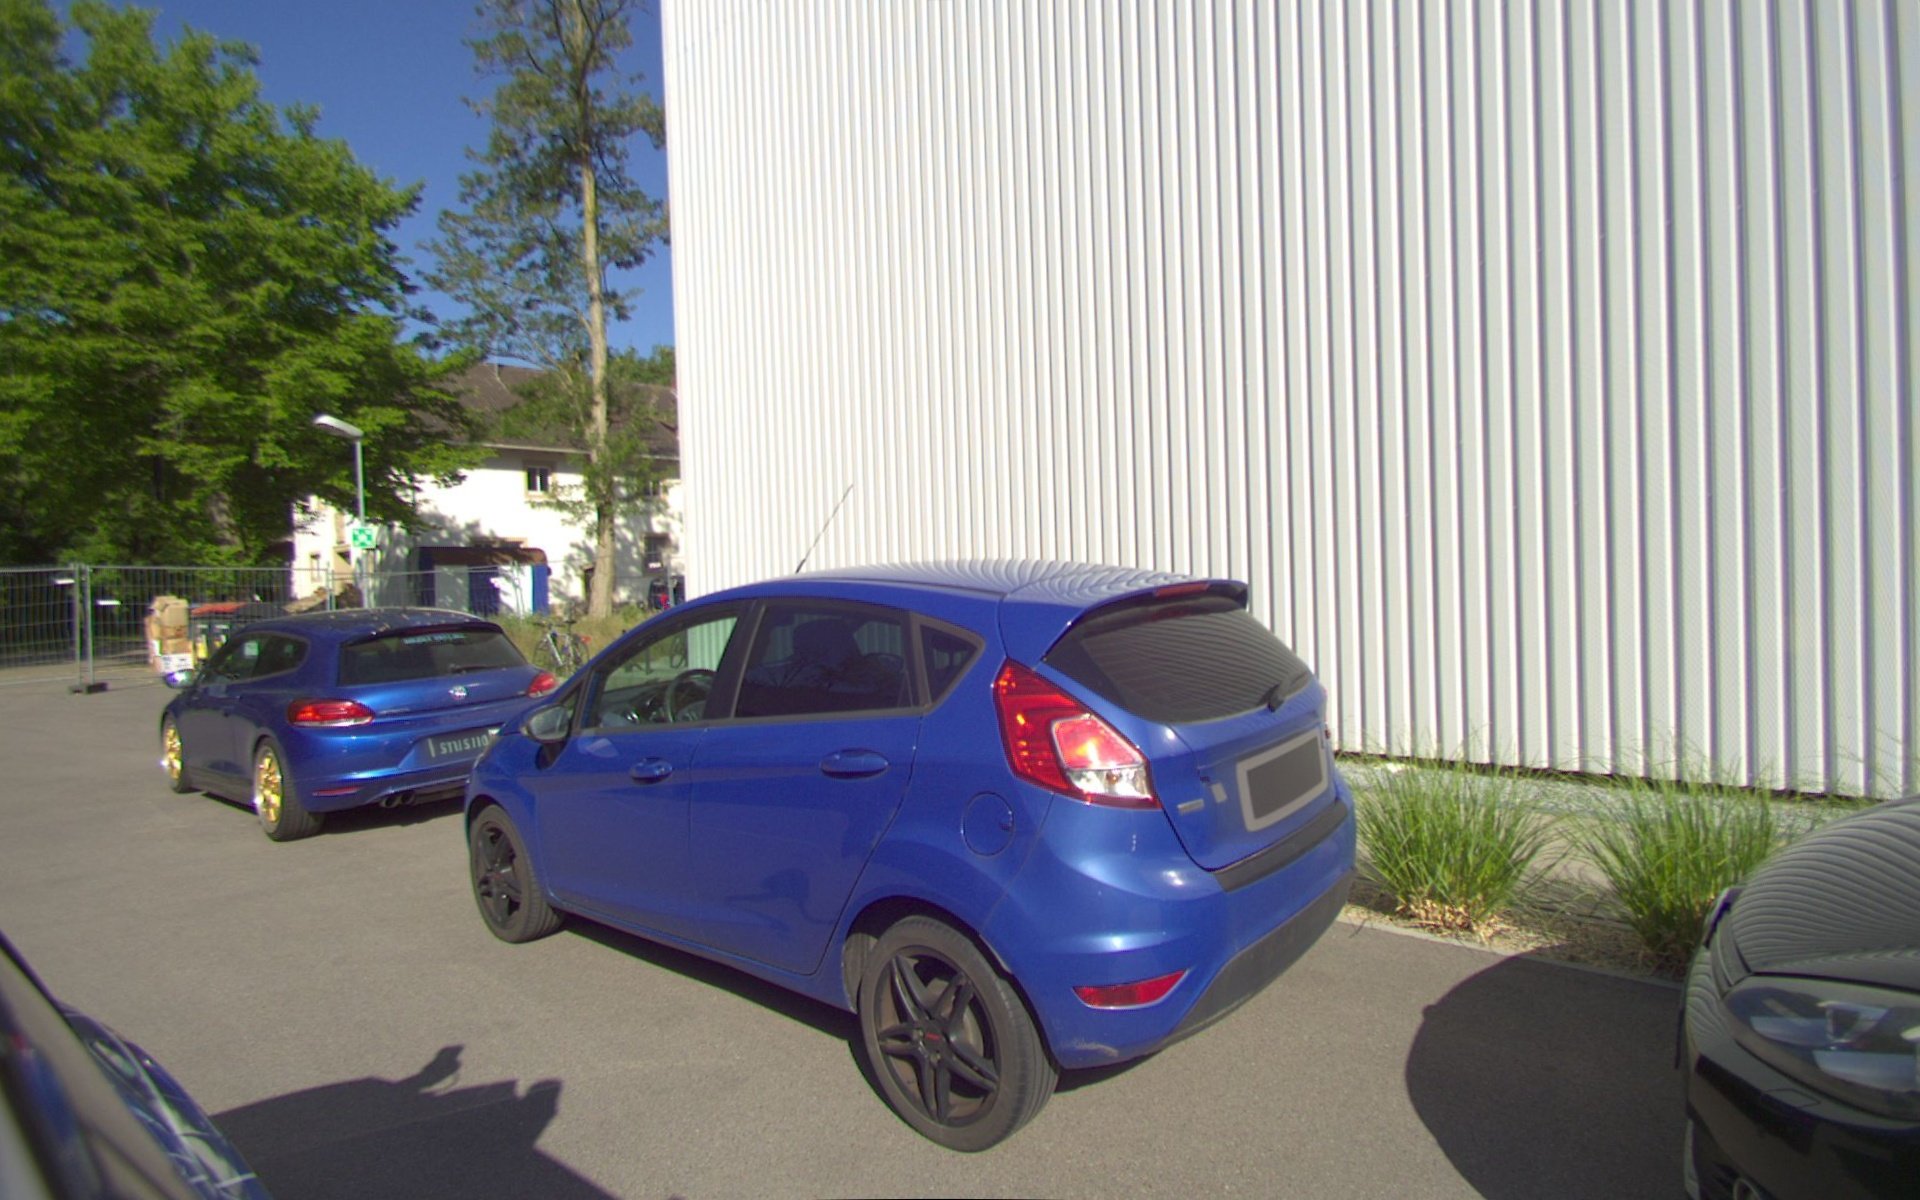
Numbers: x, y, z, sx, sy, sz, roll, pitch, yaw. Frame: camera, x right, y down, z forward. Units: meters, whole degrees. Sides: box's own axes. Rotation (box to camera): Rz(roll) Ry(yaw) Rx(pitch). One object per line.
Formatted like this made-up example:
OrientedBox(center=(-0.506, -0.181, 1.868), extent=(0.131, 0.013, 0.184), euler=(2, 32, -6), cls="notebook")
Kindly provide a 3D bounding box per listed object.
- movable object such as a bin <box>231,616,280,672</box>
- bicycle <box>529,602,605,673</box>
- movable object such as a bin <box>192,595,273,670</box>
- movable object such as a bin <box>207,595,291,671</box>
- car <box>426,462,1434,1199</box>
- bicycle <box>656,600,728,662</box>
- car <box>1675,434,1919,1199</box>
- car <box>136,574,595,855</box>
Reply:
OrientedBox(center=(-13.408, 0.832, 19.253), extent=(0.678, 1.031, 0.708), euler=(-1, -2, -42), cls="movable object such as a bin")
OrientedBox(center=(-6.394, 0.602, 16.433), extent=(1.706, 1.094, 0.388), euler=(-1, -1, 41), cls="bicycle")
OrientedBox(center=(-15.174, 0.669, 21.104), extent=(1.279, 1.489, 1.125), euler=(-3, -2, 43), cls="movable object such as a bin")
OrientedBox(center=(-14.180, 0.640, 20.170), extent=(1.289, 1.445, 1.125), euler=(-2, -1, 43), cls="movable object such as a bin")
OrientedBox(center=(-0.384, 0.480, 3.712), extent=(3.520, 1.499, 1.532), euler=(-2, 2, 41), cls="car")
OrientedBox(center=(-4.933, 0.569, 18.582), extent=(1.706, 1.094, 0.388), euler=(-1, -1, 41), cls="bicycle")
OrientedBox(center=(3.202, 0.404, 0.607), extent=(4.314, 1.456, 1.738), euler=(-2, 3, 43), cls="car")
OrientedBox(center=(-4.476, 0.662, 7.397), extent=(3.796, 1.459, 1.694), euler=(-2, 2, 41), cls="car")
